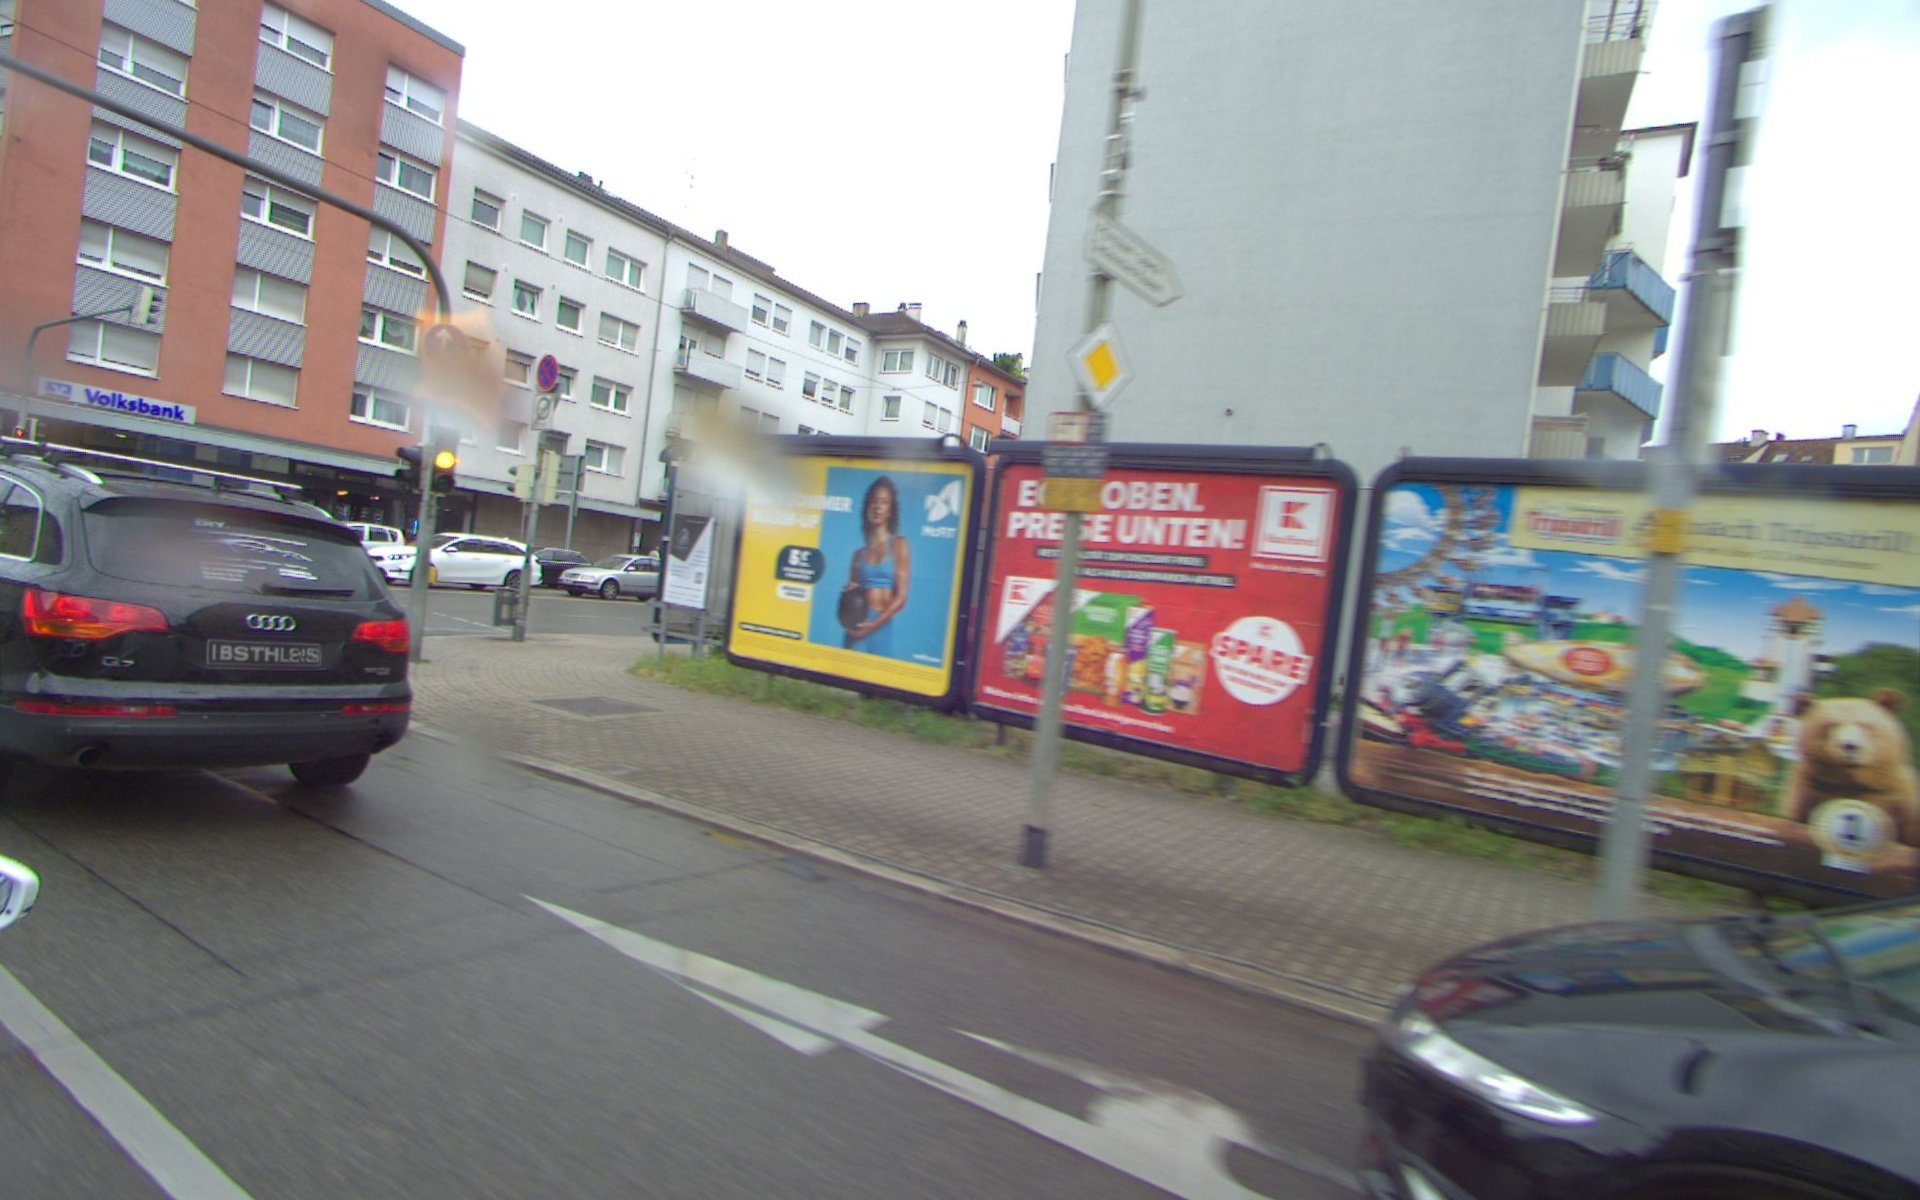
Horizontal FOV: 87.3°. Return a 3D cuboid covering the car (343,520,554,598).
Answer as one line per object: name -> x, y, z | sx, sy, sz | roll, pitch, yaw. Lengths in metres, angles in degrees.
car -> -13.476, -1.022, 26.827 | 1.887, 1.504, 4.657 | 7, 0, 30

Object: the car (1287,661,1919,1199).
car -> 2.900, 1.164, 1.874 | 3.990, 1.514, 1.787 | 7, -2, 33

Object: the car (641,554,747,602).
car -> -11.273, -0.899, 42.942 | 1.728, 1.562, 4.241 | 7, 0, 32

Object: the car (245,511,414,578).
car -> -19.068, -1.651, 30.606 | 1.674, 1.505, 3.950 | 7, 0, 31

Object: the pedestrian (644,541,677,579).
pedestrian -> -14.159, -1.895, 47.568 | 0.812, 1.631, 1.012 | 8, -1, 33

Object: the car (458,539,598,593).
car -> -15.351, -1.177, 35.990 | 1.640, 1.443, 4.374 | 7, 0, 31

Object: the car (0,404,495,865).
car -> -5.341, -0.030, 6.235 | 4.818, 1.892, 2.024 | 8, 0, 32

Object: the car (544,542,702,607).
car -> -10.508, -0.754, 31.699 | 1.814, 1.504, 4.514 | 7, 0, 31
